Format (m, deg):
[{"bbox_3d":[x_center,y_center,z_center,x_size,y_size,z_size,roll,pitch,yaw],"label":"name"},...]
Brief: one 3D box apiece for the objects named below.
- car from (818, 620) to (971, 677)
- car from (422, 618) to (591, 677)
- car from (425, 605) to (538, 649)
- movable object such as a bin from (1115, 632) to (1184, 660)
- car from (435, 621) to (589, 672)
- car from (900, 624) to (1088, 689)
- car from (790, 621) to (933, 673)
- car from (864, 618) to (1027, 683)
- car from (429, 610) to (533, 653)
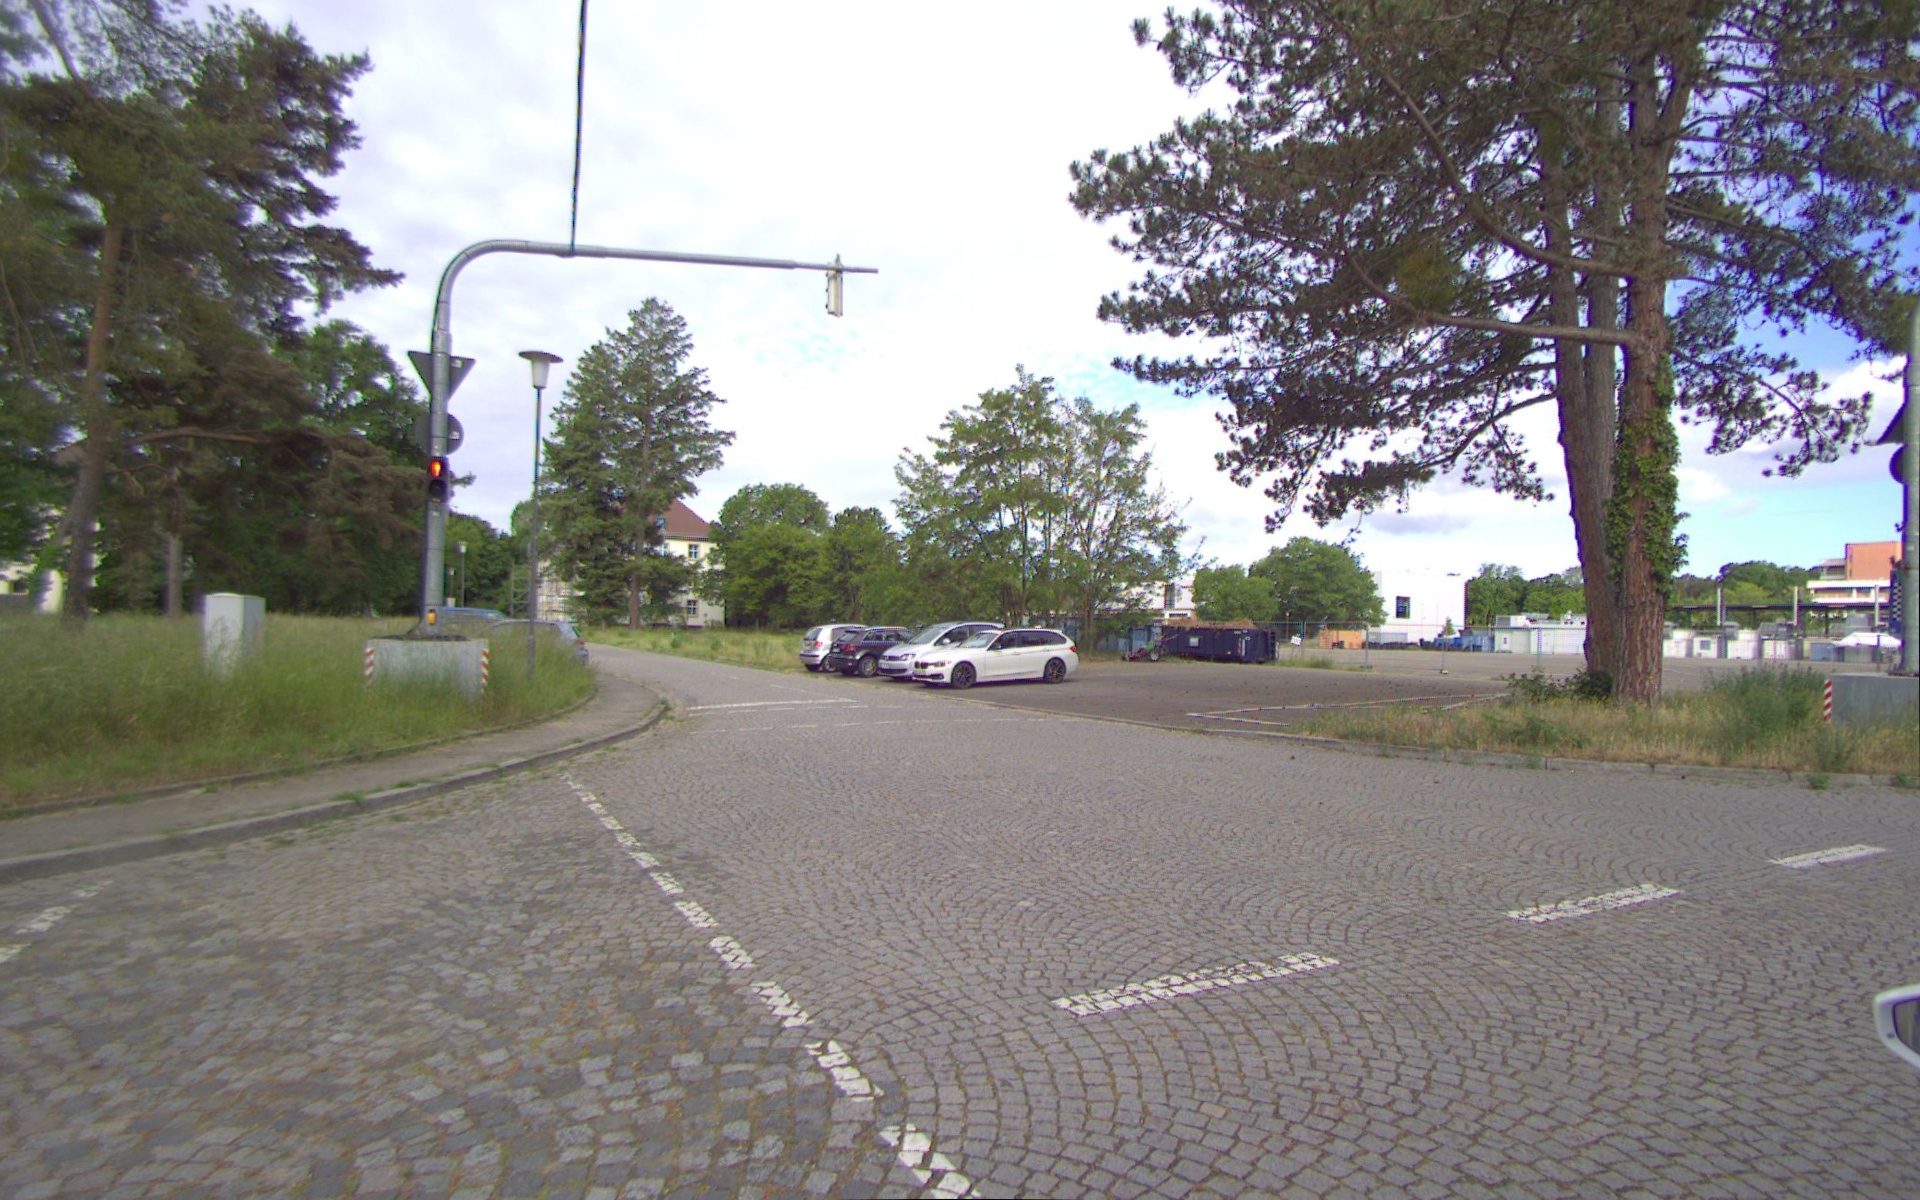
[{"bbox_3d":[-1.949,1.422,30.430,4.278,1.522,1.845,-1,0,-32],"label":"car"},{"bbox_3d":[-12.124,1.270,26.901,3.953,1.492,1.677,2,-2,-30],"label":"car"},{"bbox_3d":[-22.747,1.293,47.793,4.734,2.007,1.983,1,-1,-29],"label":"car"},{"bbox_3d":[7.539,1.836,39.945,2.631,1.061,1.171,2,-2,-34],"label":"movable object such as a bin"},{"bbox_3d":[-12.970,1.355,29.138,3.950,1.372,1.679,2,-2,-28],"label":"car"},{"bbox_3d":[0.916,1.404,26.033,4.686,1.461,1.800,0,0,-32],"label":"car"},{"bbox_3d":[-3.187,1.529,32.805,4.279,1.587,1.783,2,-2,-32],"label":"car"},{"bbox_3d":[-0.376,1.357,28.288,4.278,1.605,1.812,-1,0,-32],"label":"car"},{"bbox_3d":[-20.490,1.346,43.073,3.948,1.737,1.679,1,-1,-27],"label":"car"}]
